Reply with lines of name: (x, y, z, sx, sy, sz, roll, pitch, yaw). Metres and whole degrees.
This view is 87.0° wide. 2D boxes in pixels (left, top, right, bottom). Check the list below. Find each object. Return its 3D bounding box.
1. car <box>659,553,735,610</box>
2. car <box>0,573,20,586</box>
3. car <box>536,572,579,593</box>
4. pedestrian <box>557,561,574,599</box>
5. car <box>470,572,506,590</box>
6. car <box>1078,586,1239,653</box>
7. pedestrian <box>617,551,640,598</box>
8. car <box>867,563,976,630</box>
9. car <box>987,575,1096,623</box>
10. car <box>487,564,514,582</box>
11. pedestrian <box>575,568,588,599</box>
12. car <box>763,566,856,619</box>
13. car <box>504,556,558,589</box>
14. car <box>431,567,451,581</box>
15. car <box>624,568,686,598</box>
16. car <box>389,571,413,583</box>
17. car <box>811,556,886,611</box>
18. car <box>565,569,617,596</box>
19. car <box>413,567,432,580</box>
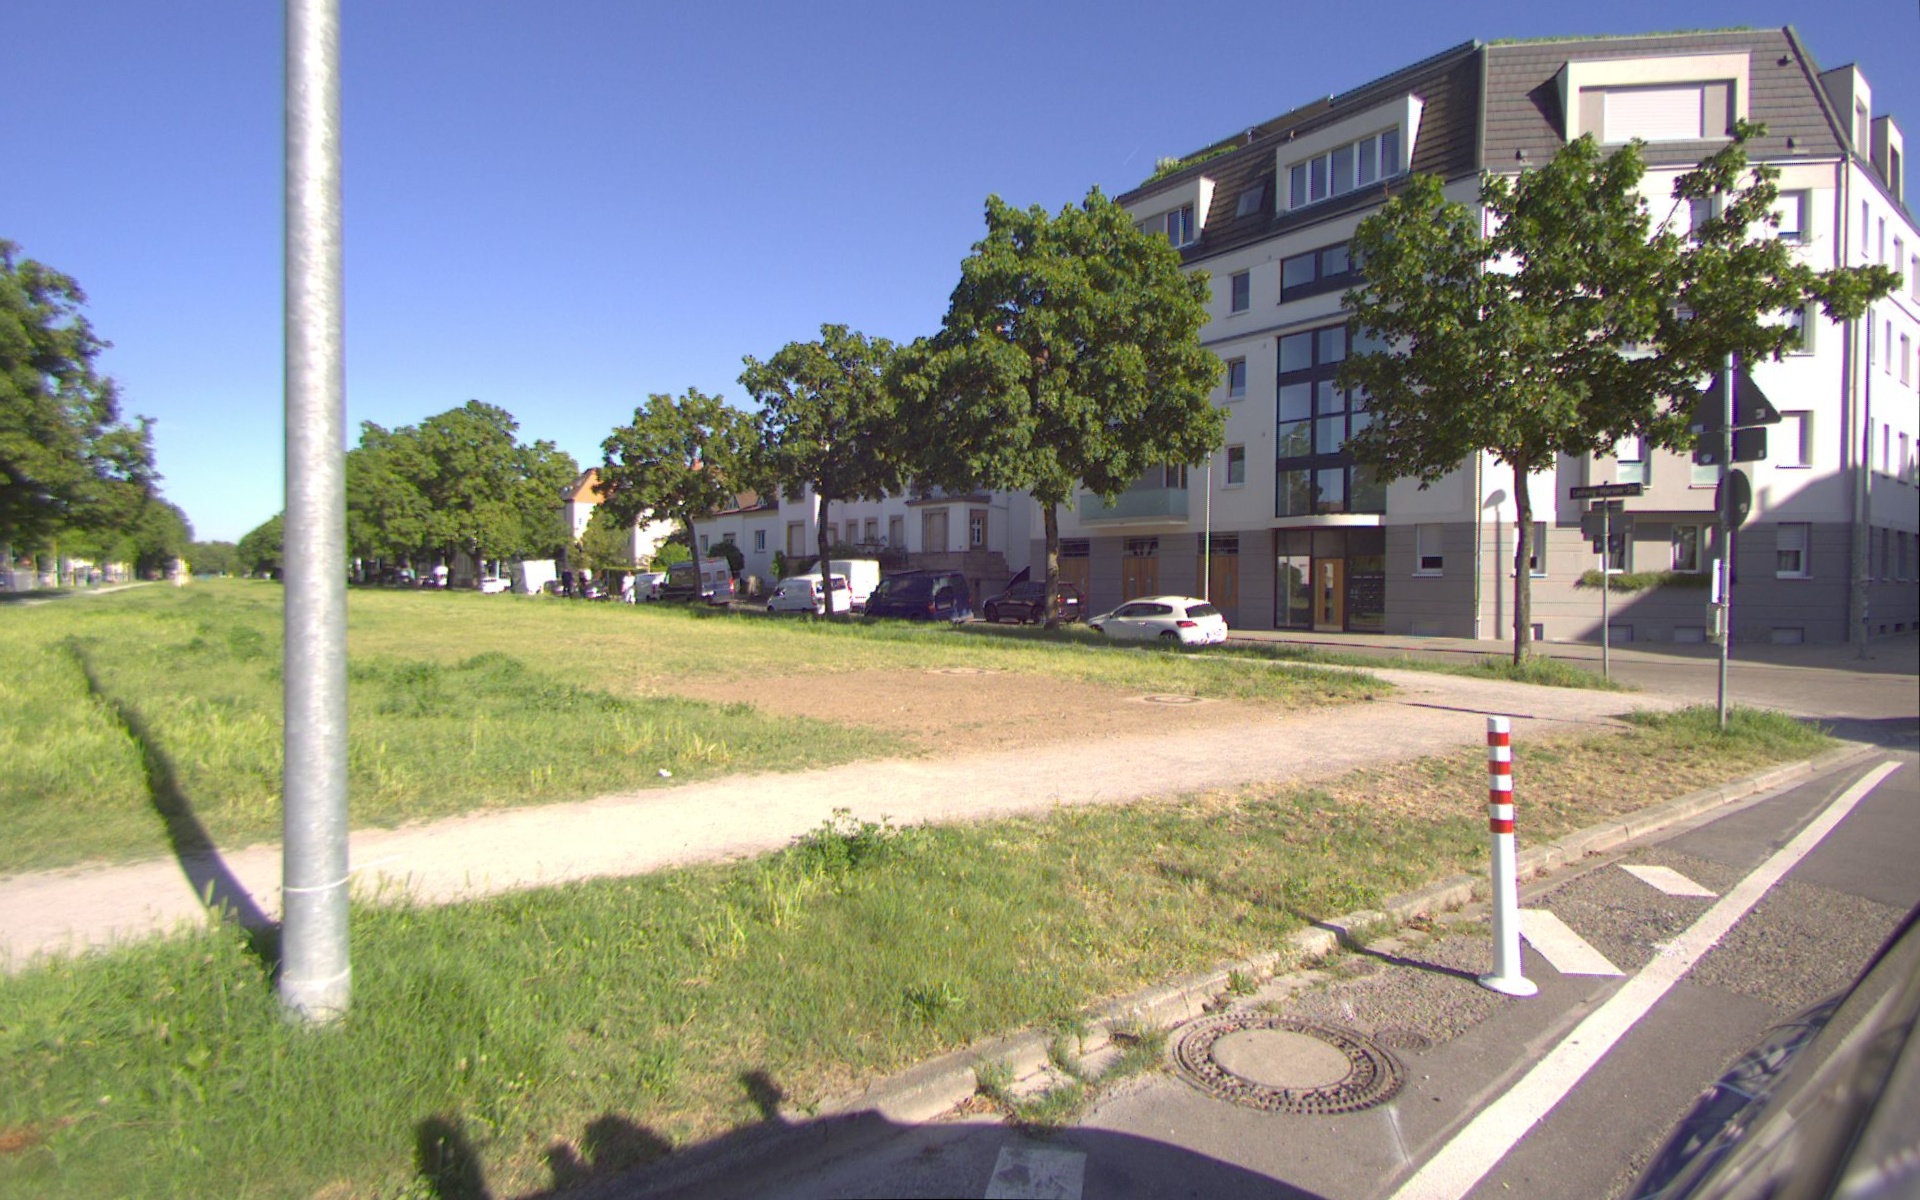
car: (-13.256, -0.947, 50.837, 2.154, 2.615, 4.288, -5, 4, -36)
car: (-100.340, -2.196, 106.483, 1.690, 1.358, 3.808, 0, 2, -37)
car: (-28.405, -1.251, 71.395, 1.898, 1.361, 4.109, 0, 2, -36)
pedestrian: (-19.682, -1.010, 50.441, 0.633, 1.900, 0.629, 0, 1, -38)
car: (-41.595, -1.692, 89.102, 2.042, 1.484, 4.727, 0, 2, -36)
car: (5.128, 0.448, 26.507, 1.709, 1.450, 3.993, -6, 5, -37)
pedestrian: (-13.652, -1.050, 41.685, 0.711, 1.900, 0.629, 0, 1, -38)
car: (-1.382, -0.180, 34.851, 1.752, 2.109, 3.994, -4, 3, -36)
car: (3.060, -0.098, 38.835, 1.861, 1.703, 4.288, -2, 3, -36)
car: (-48.206, -2.809, 106.089, 1.831, 1.868, 3.994, 0, 2, -36)
pedestrian: (-18.924, -0.838, 50.570, 0.487, 1.524, 0.535, 0, 1, -37)
car: (-6.243, -0.362, 41.538, 1.843, 1.906, 4.423, -5, 5, -36)
car: (-32.516, -2.066, 76.583, 2.504, 2.363, 5.919, 0, 2, -36)
car: (-70.071, -3.496, 136.691, 1.831, 1.868, 3.994, 0, 2, -36)
car: (-17.066, -0.982, 56.486, 2.047, 1.618, 4.288, 0, 2, -36)
car: (-69.087, -2.829, 125.128, 2.042, 1.484, 4.727, 0, 2, -36)
car: (-5.605, -0.859, 50.449, 1.986, 2.580, 3.994, -2, 2, -36)
car: (-23.865, -1.151, 65.387, 2.047, 1.618, 4.288, 0, 2, -36)
car: (-78.175, -3.857, 147.169, 1.831, 1.868, 3.994, 0, 2, -36)
